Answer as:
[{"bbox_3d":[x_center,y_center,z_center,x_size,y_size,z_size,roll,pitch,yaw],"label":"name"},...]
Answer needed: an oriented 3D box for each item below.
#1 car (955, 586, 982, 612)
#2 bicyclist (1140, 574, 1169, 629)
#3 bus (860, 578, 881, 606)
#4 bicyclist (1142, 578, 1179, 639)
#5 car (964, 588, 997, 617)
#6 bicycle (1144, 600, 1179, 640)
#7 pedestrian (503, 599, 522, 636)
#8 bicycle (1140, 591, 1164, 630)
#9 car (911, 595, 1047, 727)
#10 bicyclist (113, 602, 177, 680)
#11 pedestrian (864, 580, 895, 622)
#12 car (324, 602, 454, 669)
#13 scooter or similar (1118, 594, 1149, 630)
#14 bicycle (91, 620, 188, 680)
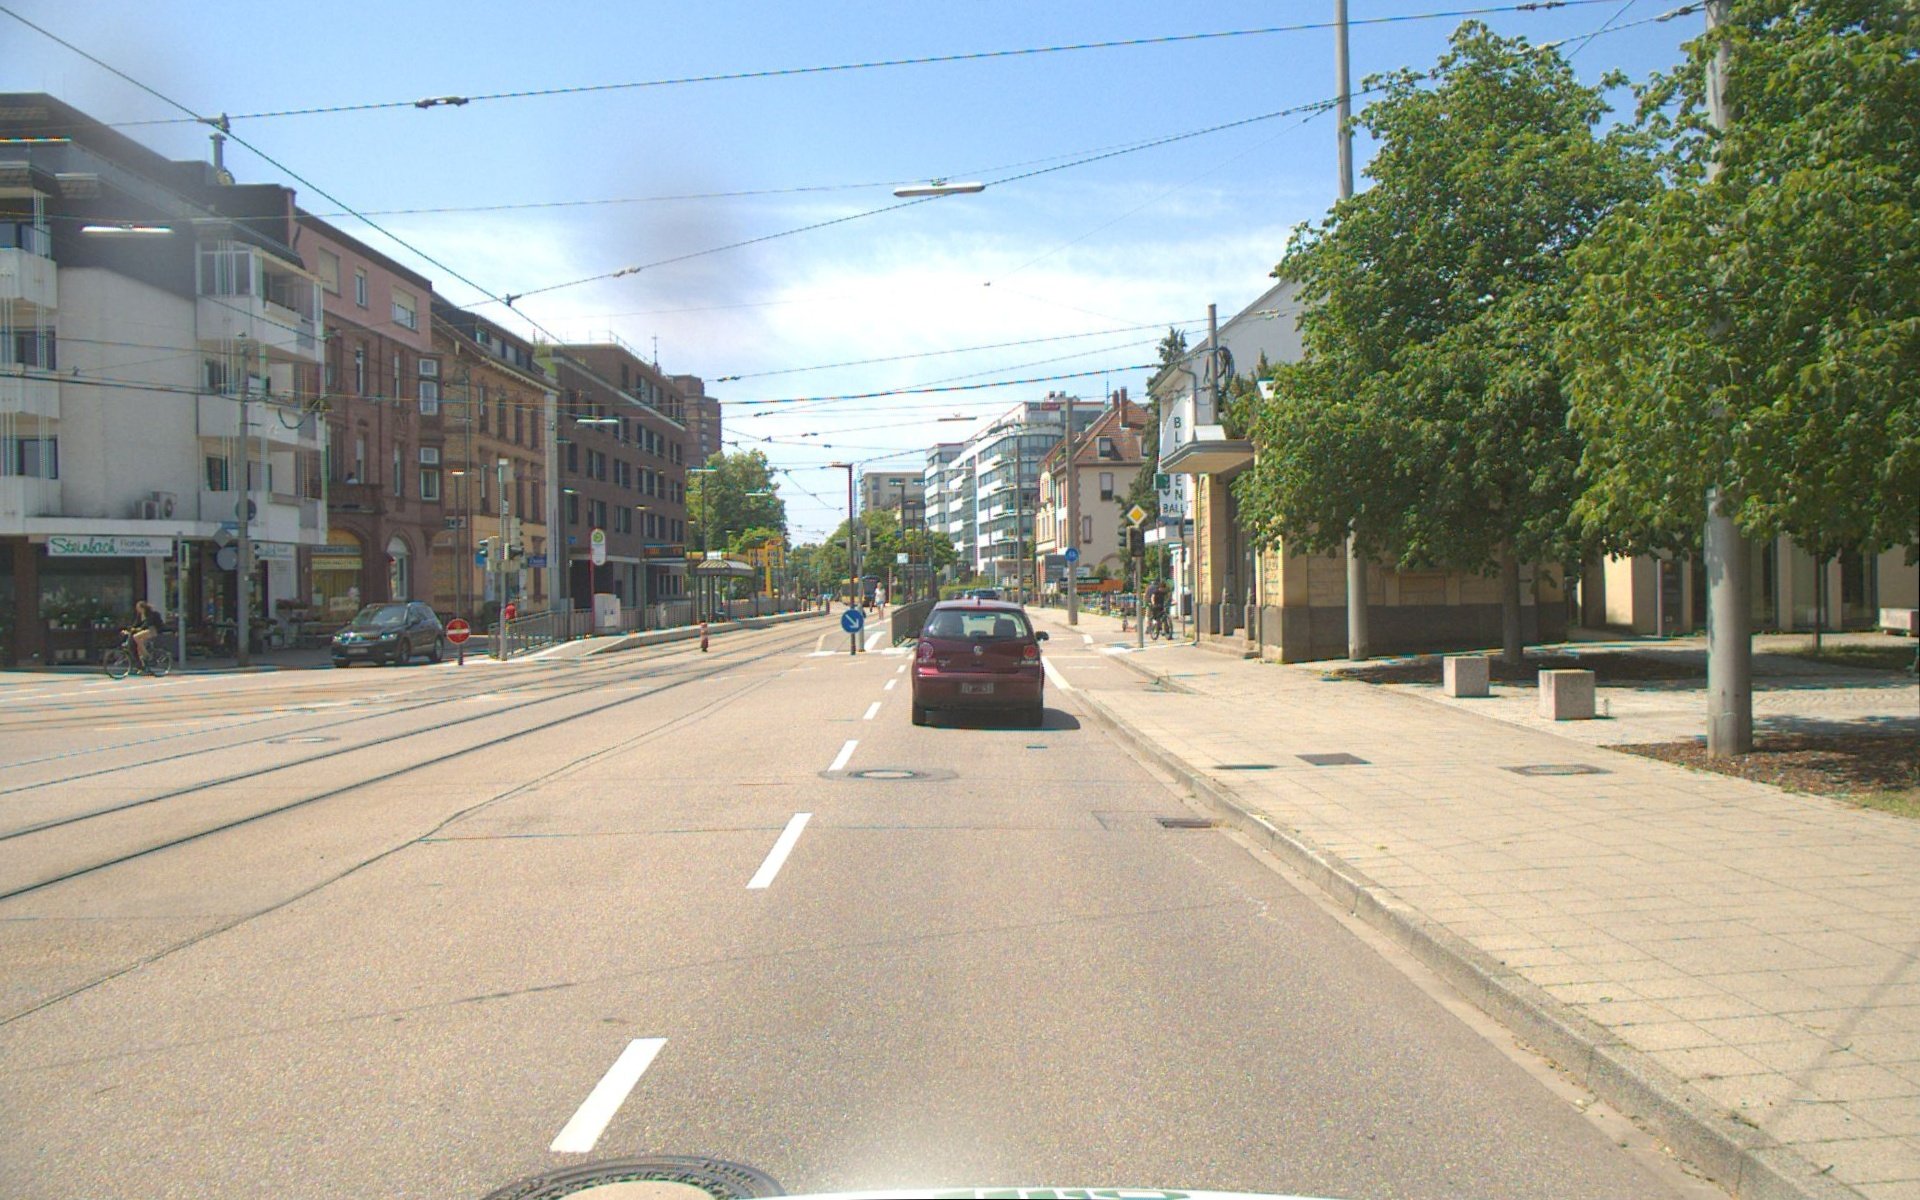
[{"bbox_3d":[0.650,-0.065,126.792,1.953,1.881,4.000,-2,1,0],"label":"car"},{"bbox_3d":[6.415,0.046,54.552,0.712,1.791,0.924,-1,0,20],"label":"bicyclist"},{"bbox_3d":[-10.244,-0.944,188.539,2.103,3.055,6.566,-1,0,-5],"label":"bus"},{"bbox_3d":[5.704,0.242,47.173,0.815,1.645,0.860,-5,2,-1],"label":"bicyclist"},{"bbox_3d":[1.249,0.157,100.885,1.952,1.653,4.632,-1,0,1],"label":"car"},{"bbox_3d":[5.736,0.557,47.161,0.655,1.019,1.863,-5,2,-1],"label":"bicycle"},{"bbox_3d":[-19.545,0.748,72.247,0.602,1.588,0.640,-1,0,0],"label":"pedestrian"},{"bbox_3d":[6.318,0.339,54.301,0.367,1.218,1.906,-1,1,18],"label":"bicycle"},{"bbox_3d":[0.211,0.698,20.555,1.529,1.479,3.061,-1,0,0],"label":"car"},{"bbox_3d":[-19.328,0.961,39.245,0.717,1.793,1.134,-2,0,23],"label":"bicyclist"},{"bbox_3d":[-3.357,0.039,69.320,0.750,1.704,1.096,-1,0,35],"label":"pedestrian"},{"bbox_3d":[-15.297,0.919,44.539,1.756,1.607,4.496,-2,0,2],"label":"car"},{"bbox_3d":[5.906,0.399,56.366,0.335,1.198,1.457,-1,0,-23],"label":"scooter or similar"},{"bbox_3d":[-19.390,1.164,39.130,0.663,1.327,2.104,-2,0,23],"label":"bicycle"}]
